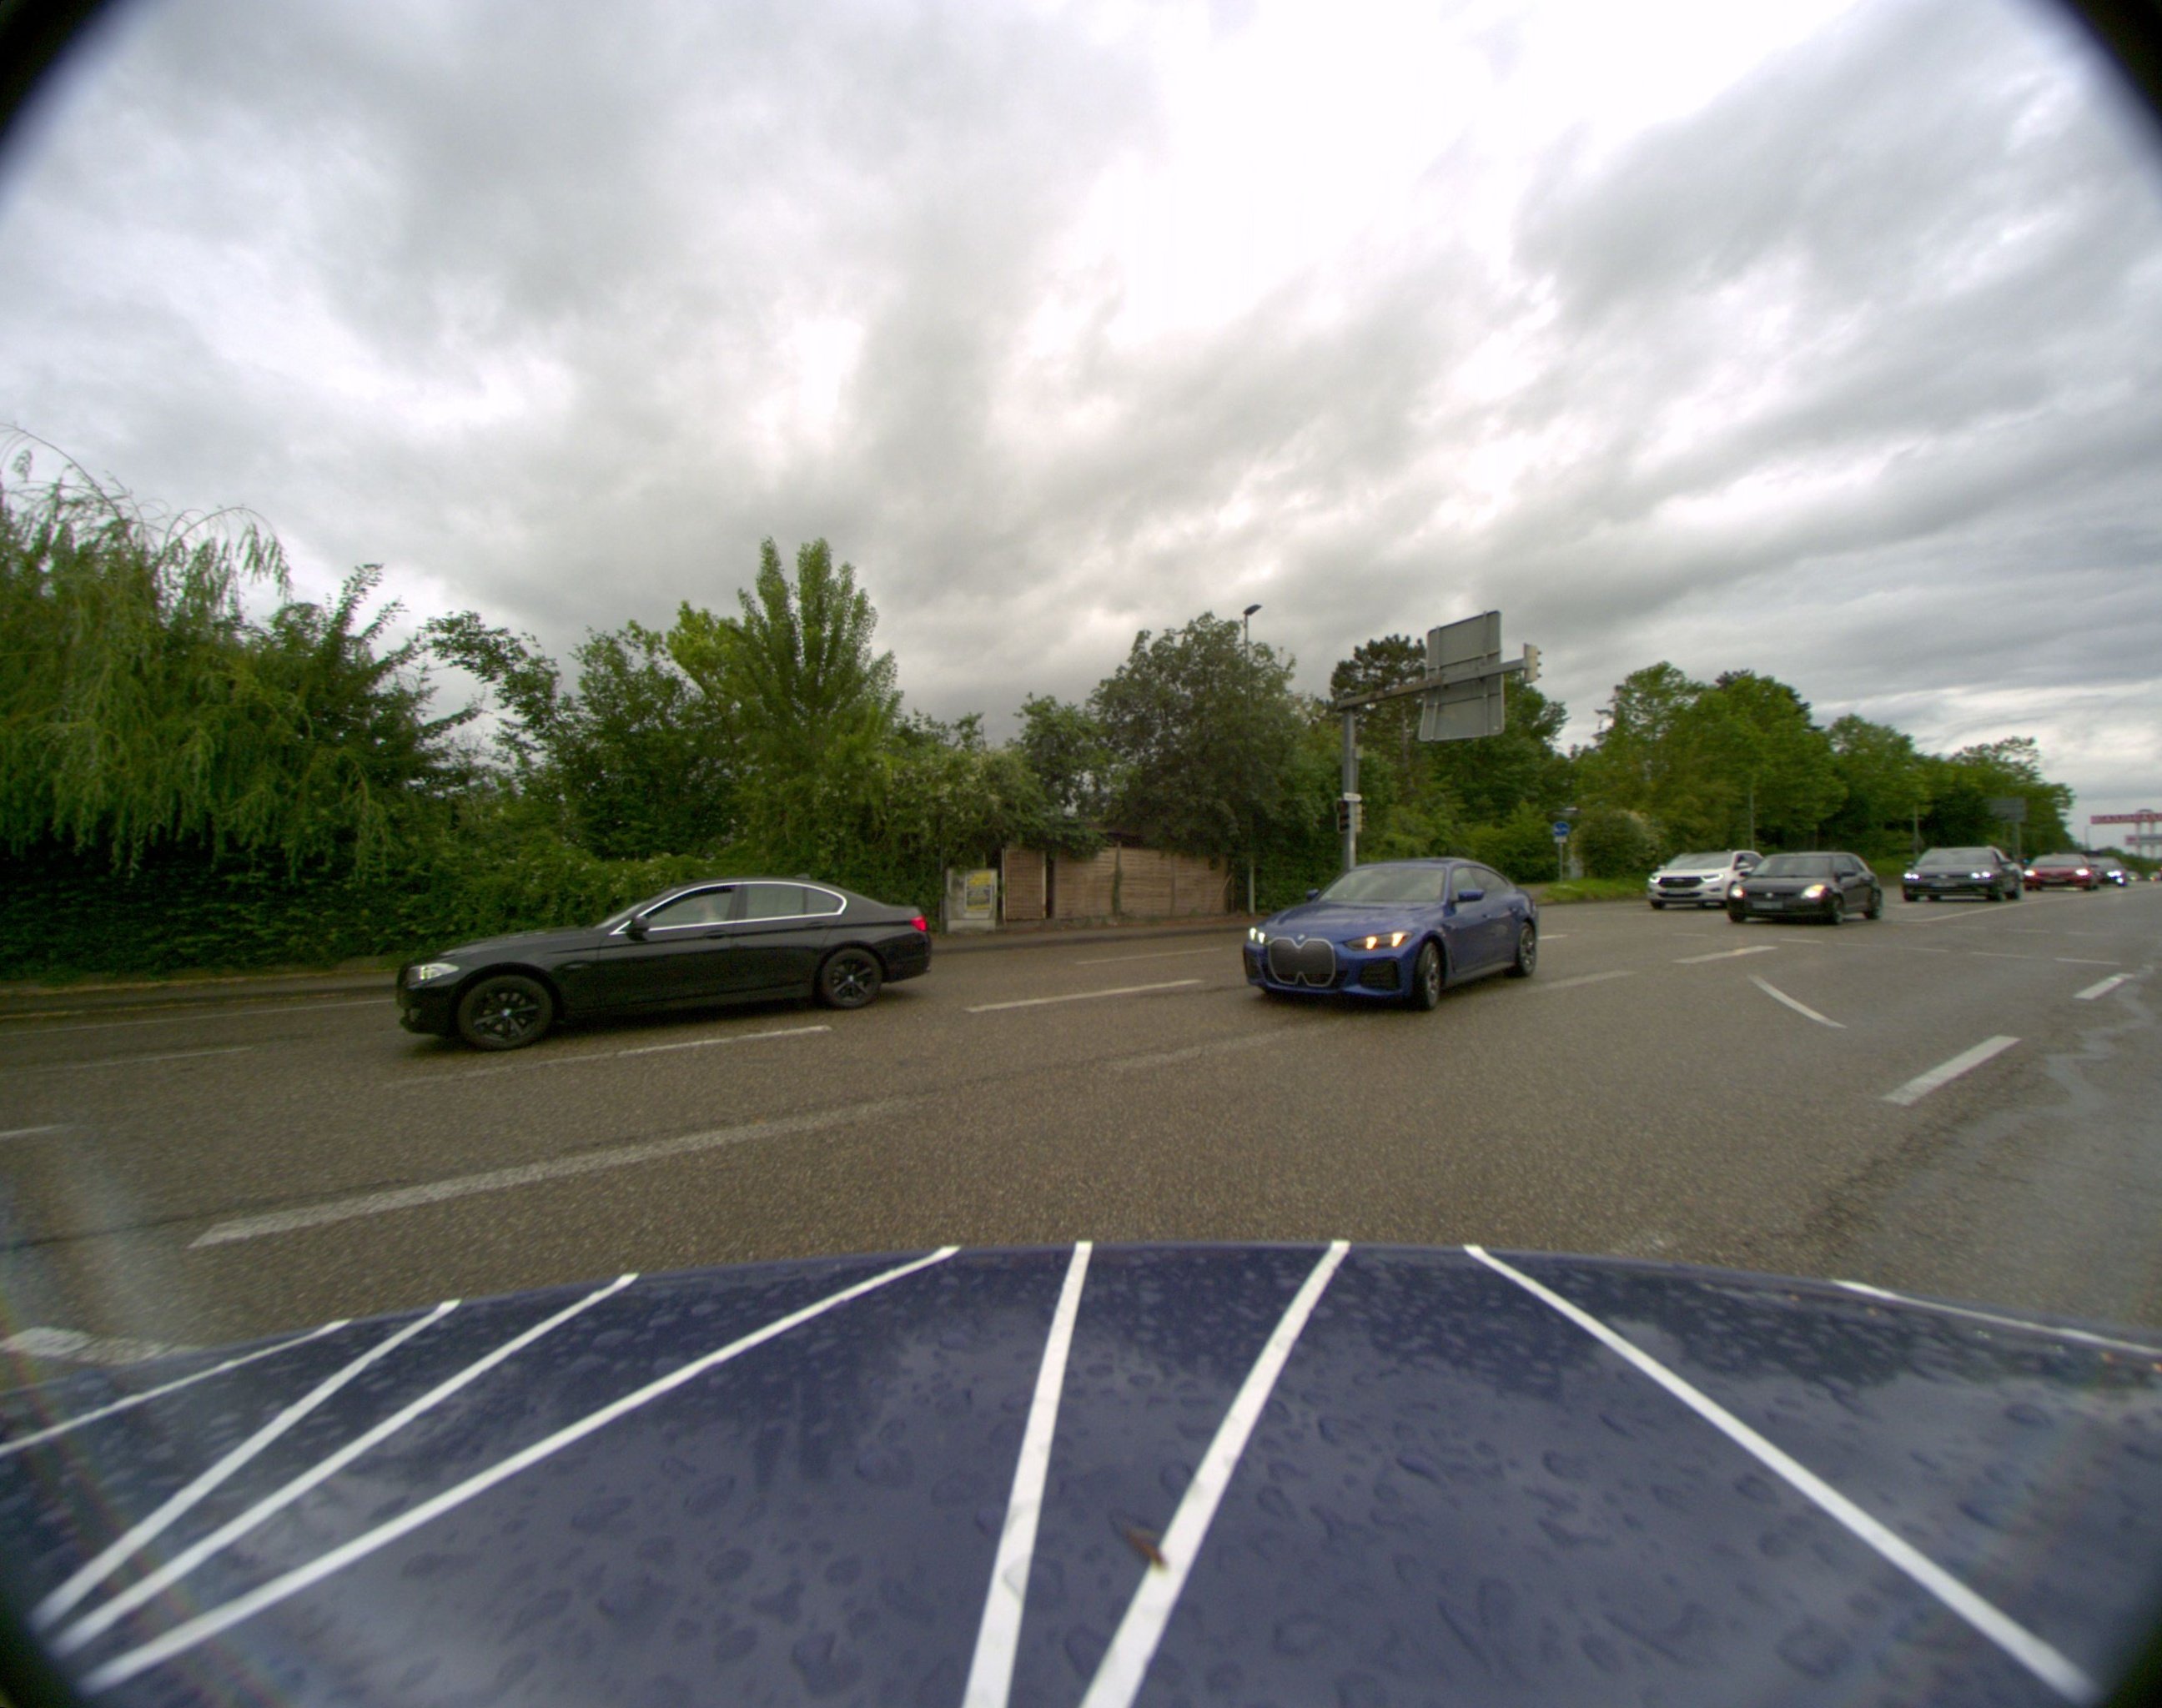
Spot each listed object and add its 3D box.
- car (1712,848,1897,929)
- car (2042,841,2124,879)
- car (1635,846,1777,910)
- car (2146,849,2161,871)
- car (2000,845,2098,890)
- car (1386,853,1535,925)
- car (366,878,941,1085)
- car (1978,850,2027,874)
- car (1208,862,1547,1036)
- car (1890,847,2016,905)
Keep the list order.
[{"bbox_3d":[15.637,0.670,16.379,4.229,1.543,1.804,0,-1,-31],"label":"car"},{"bbox_3d":[48.306,0.292,36.616,4.105,1.708,1.925,-1,-1,-31],"label":"car"},{"bbox_3d":[18.282,0.686,22.216,3.848,1.612,1.976,-2,-2,-32],"label":"car"},{"bbox_3d":[87.954,0.397,61.281,4.105,1.707,1.926,-1,-4,-31],"label":"car"},{"bbox_3d":[40.184,0.537,31.535,4.105,1.707,1.926,-1,-2,-31],"label":"car"},{"bbox_3d":[9.904,0.859,19.762,3.848,1.612,1.703,-2,-1,-34],"label":"car"},{"bbox_3d":[-4.060,1.075,7.975,4.727,1.450,1.792,-1,-1,-32],"label":"car"},{"bbox_3d":[70.931,0.627,58.450,3.915,1.608,1.813,-2,-2,-32],"label":"car"},{"bbox_3d":[3.524,0.848,8.602,4.281,1.399,1.800,-1,0,-42],"label":"car"},{"bbox_3d":[26.398,0.617,22.977,4.006,1.543,1.804,-1,0,-31],"label":"car"}]
